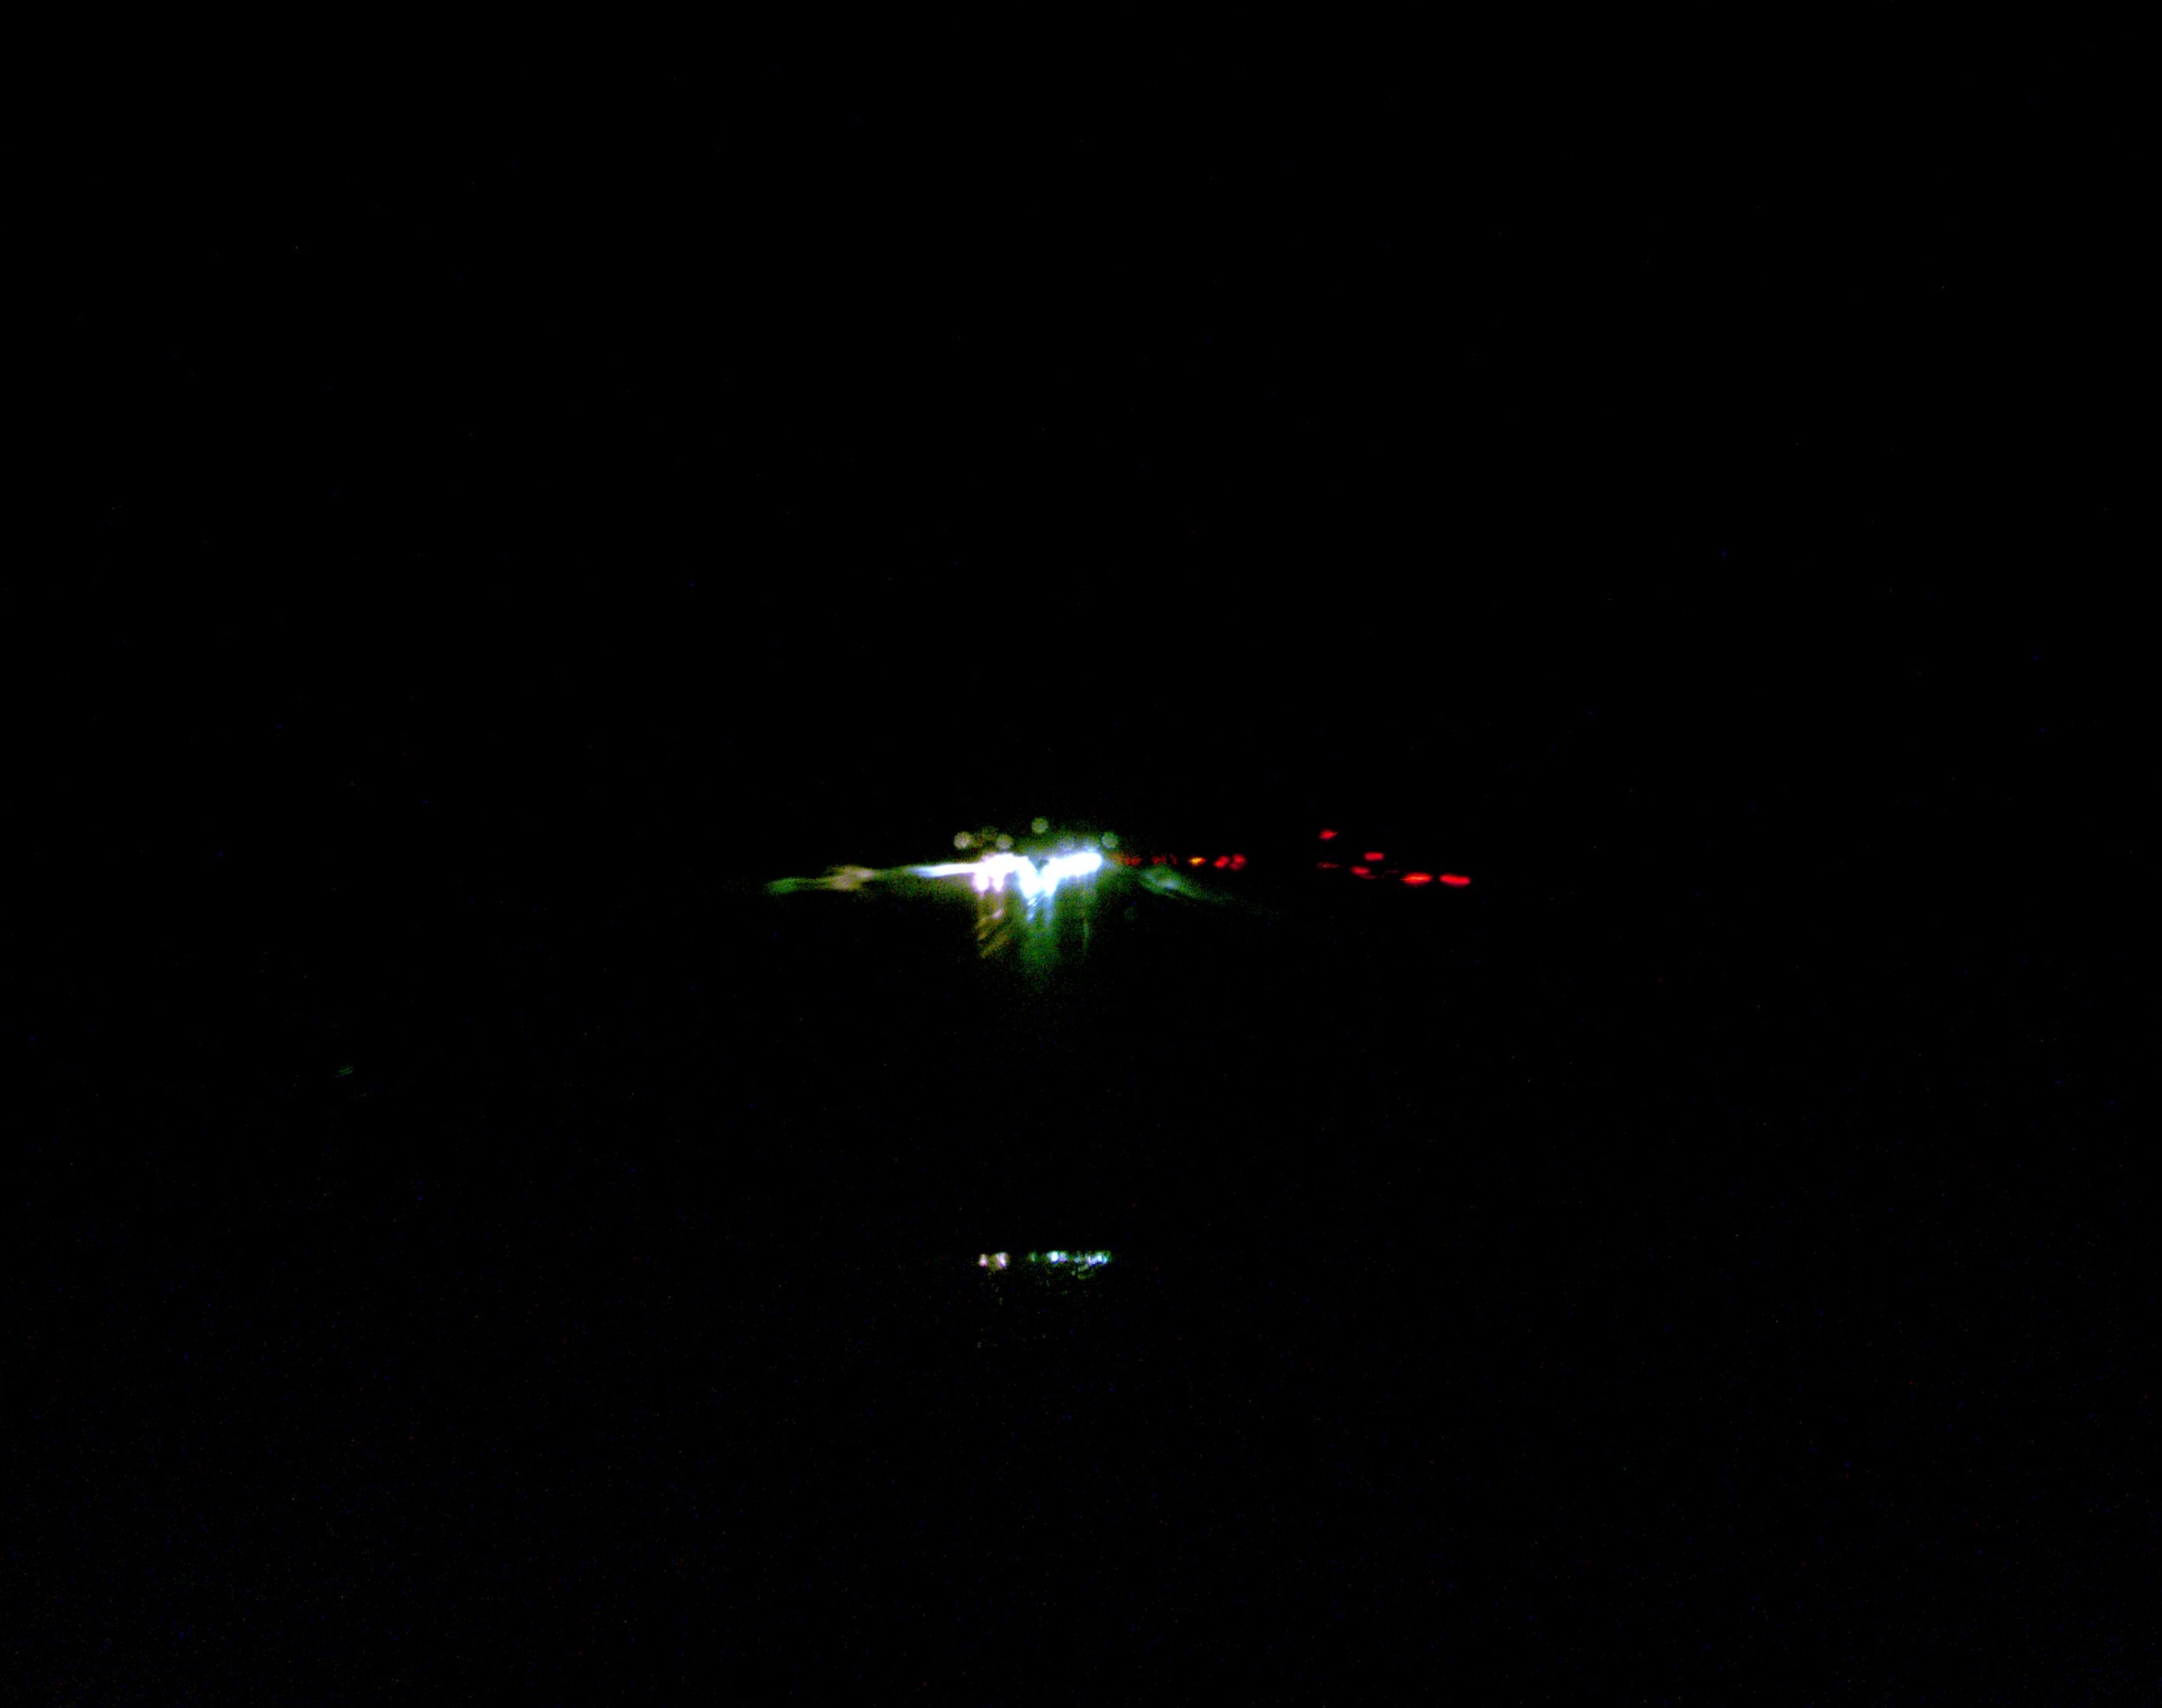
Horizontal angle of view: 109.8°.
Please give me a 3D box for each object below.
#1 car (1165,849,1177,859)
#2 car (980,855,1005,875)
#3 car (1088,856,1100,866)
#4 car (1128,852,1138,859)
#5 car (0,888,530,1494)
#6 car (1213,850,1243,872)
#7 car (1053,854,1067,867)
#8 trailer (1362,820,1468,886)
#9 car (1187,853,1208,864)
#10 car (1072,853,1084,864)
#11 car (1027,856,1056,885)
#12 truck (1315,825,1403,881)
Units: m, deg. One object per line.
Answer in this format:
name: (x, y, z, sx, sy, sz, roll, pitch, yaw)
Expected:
car: (18.714, -0.015, 157.980, 1.998, 2.002, 5.360, -1, 0, 2)
car: (-7.065, 0.885, 60.817, 1.644, 1.494, 4.012, -1, 0, -2)
car: (2.374, 1.227, 136.834, 1.883, 1.653, 4.000, -3, -1, -1)
car: (11.097, 0.311, 162.033, 1.998, 1.432, 4.437, 0, 0, 1)
car: (-3.871, 1.005, 1.829, 1.745, 1.566, 4.493, -1, 1, 0)
car: (13.810, 0.639, 71.580, 1.998, 2.002, 4.000, -1, 0, 0)
car: (-3.086, 0.956, 111.158, 1.883, 1.653, 4.000, -3, -1, -1)
trailer: (21.260, -0.064, 49.032, 2.864, 3.877, 8.704, -1, 0, -1)
car: (17.257, 0.646, 112.798, 1.999, 1.550, 4.532, -1, 0, -4)
car: (-0.519, 0.785, 128.105, 1.883, 1.653, 4.000, -3, -1, -1)
car: (-2.925, 1.170, 56.162, 1.999, 2.002, 3.999, -2, 0, -3)
truck: (21.142, -0.056, 58.531, 2.875, 3.885, 10.211, -1, 0, -1)
